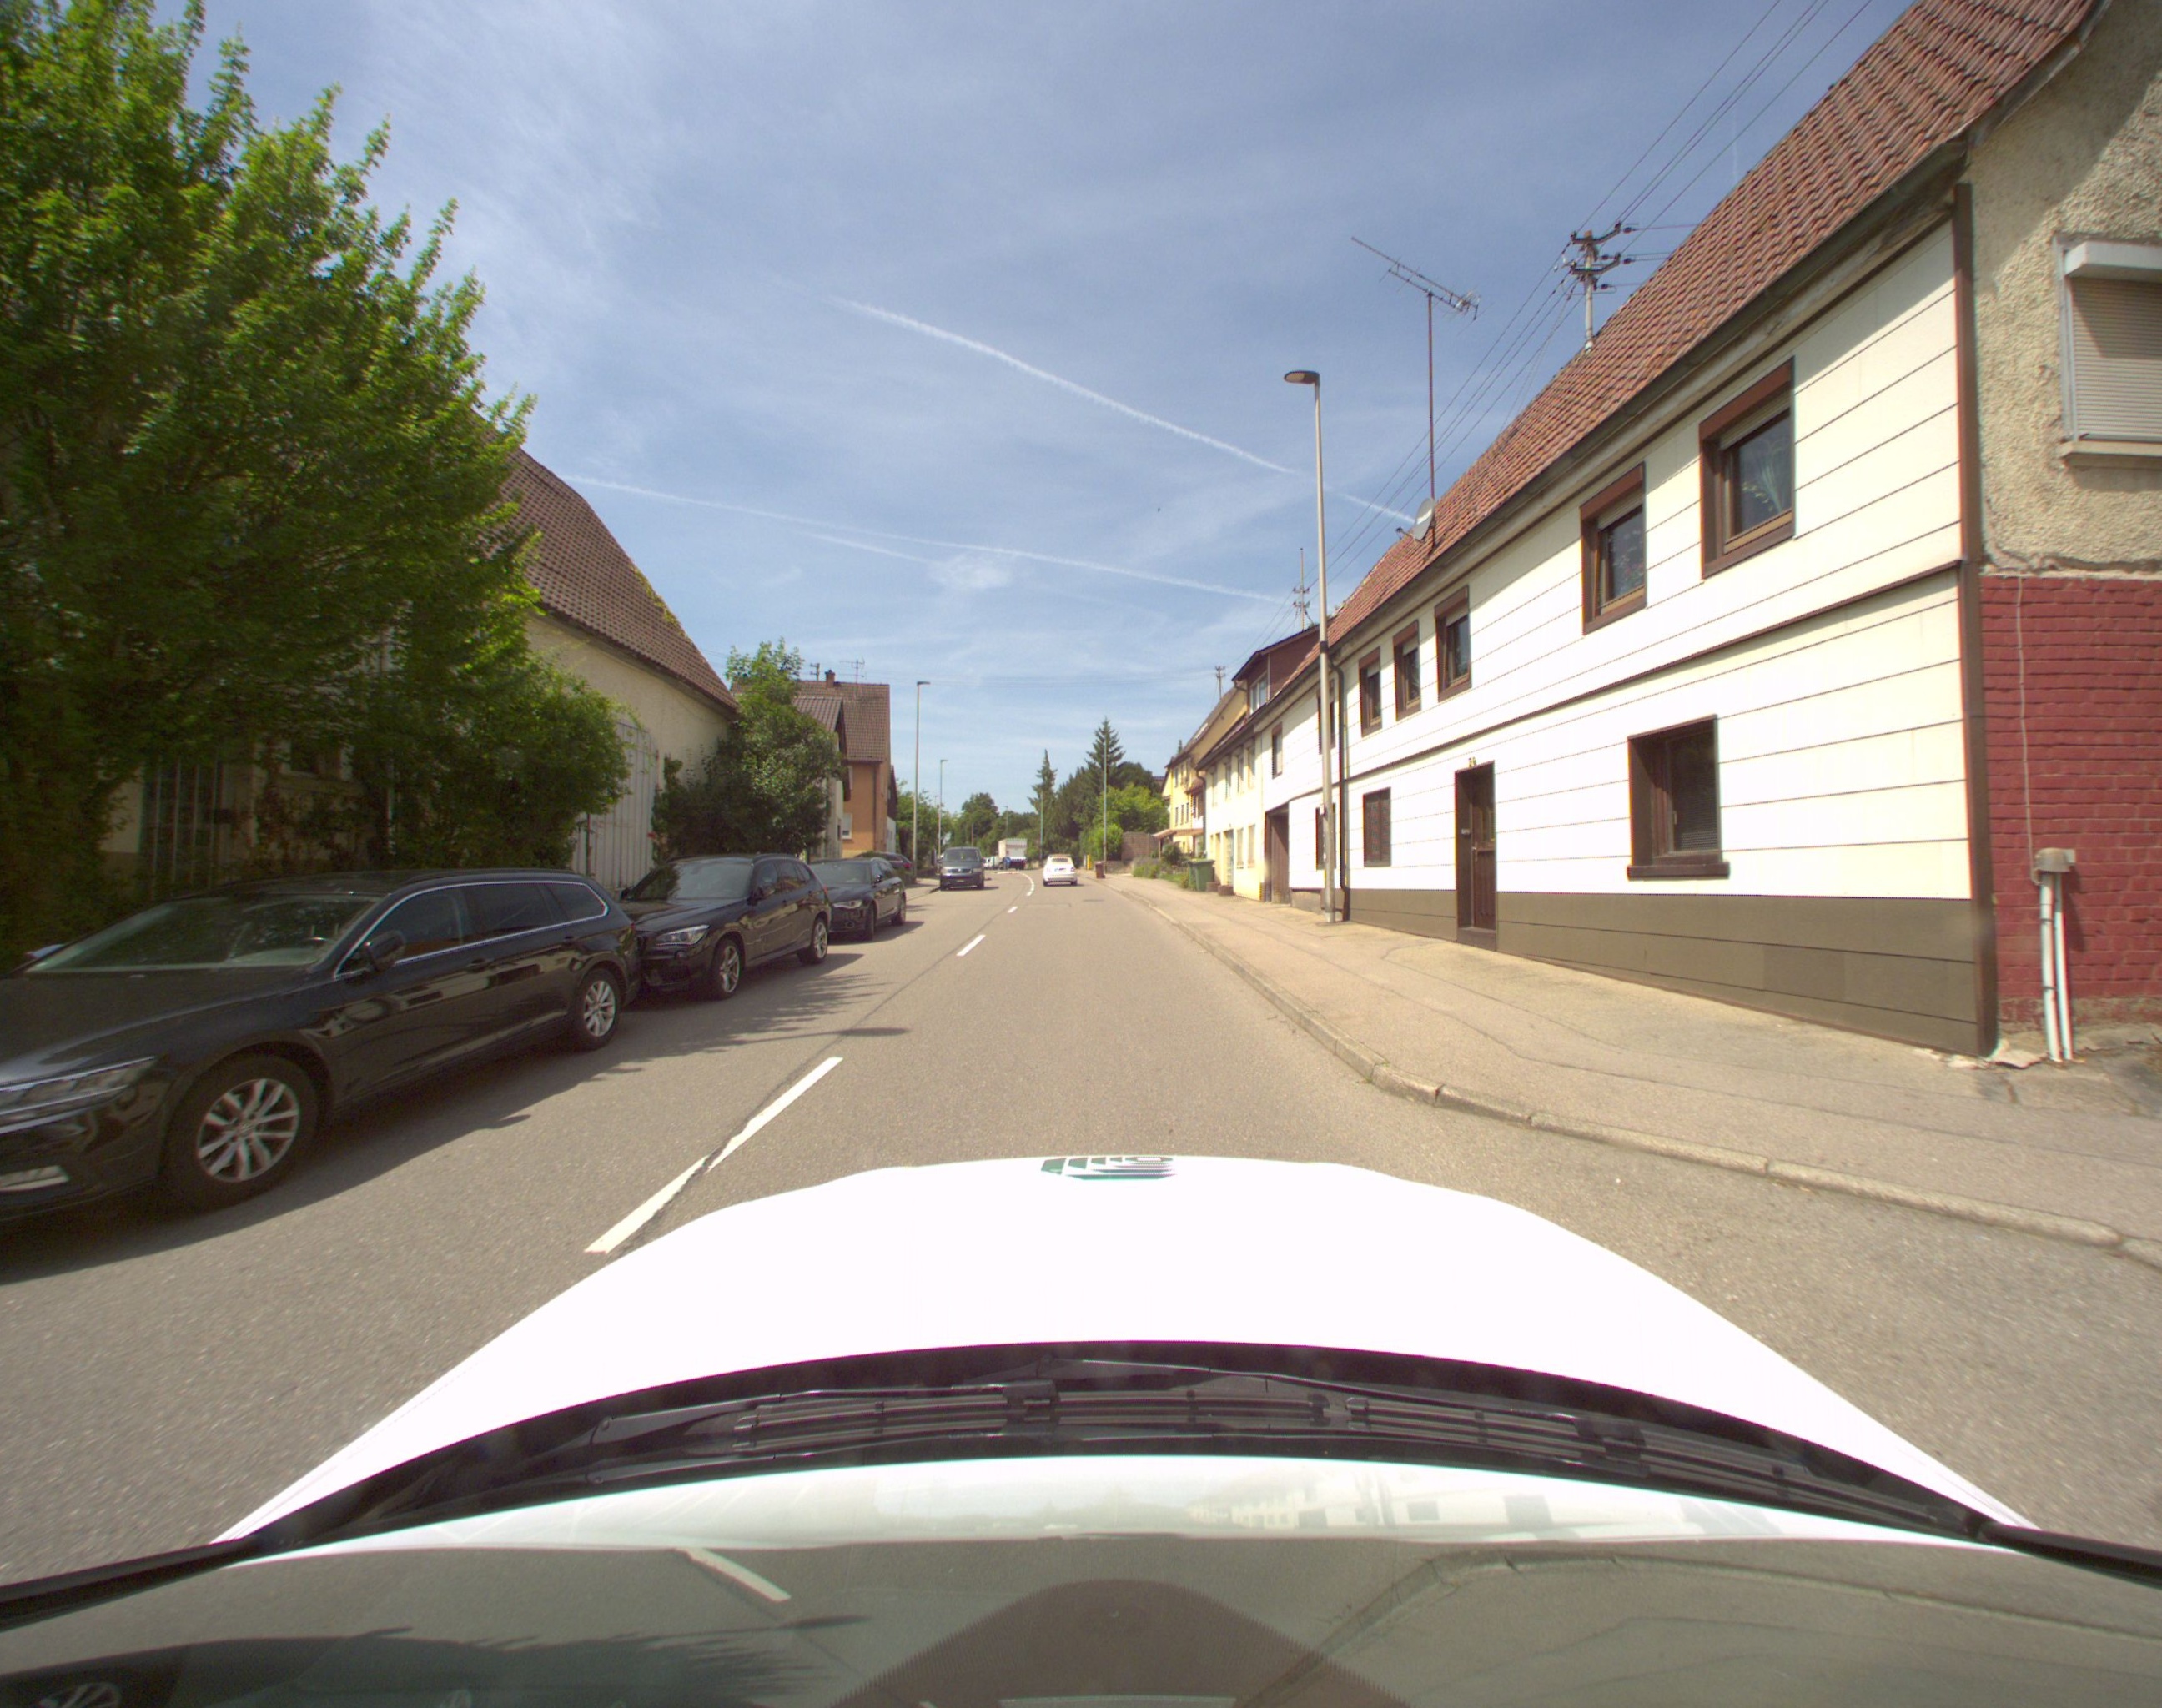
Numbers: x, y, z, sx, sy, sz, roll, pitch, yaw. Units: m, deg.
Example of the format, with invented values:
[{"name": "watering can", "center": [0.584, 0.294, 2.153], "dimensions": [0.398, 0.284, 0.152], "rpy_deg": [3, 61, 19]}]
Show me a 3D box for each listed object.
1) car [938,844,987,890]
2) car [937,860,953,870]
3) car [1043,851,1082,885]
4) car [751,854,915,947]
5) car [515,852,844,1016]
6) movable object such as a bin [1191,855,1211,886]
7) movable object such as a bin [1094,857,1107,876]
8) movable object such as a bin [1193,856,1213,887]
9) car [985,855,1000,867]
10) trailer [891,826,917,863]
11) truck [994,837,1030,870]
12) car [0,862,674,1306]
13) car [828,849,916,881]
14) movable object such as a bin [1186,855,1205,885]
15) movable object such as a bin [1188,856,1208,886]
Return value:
[{"name": "car", "center": [-5.405, 0.580, 37.750], "dimensions": [1.888, 1.937, 4.977], "rpy_deg": [-2, 0, -5]}, {"name": "car", "center": [-19.417, 1.518, 116.188], "dimensions": [1.808, 1.398, 3.979], "rpy_deg": [-1, -1, -15]}, {"name": "car", "center": [-0.884, 0.693, 40.572], "dimensions": [1.718, 1.560, 4.001], "rpy_deg": [-2, 0, 1]}, {"name": "car", "center": [-4.607, 0.769, 15.926], "dimensions": [1.814, 1.473, 4.772], "rpy_deg": [-1, 0, -2]}, {"name": "car", "center": [-4.527, 0.775, 10.065], "dimensions": [1.748, 1.521, 4.303], "rpy_deg": [-1, 1, 2]}, {"name": "movable object such as a bin", "center": [4.213, 0.588, 28.672], "dimensions": [0.545, 1.033, 0.551], "rpy_deg": [-4, 0, -2]}, {"name": "movable object such as a bin", "center": [1.109, 0.719, 45.894], "dimensions": [0.490, 1.033, 0.551], "rpy_deg": [-5, 0, 19]}, {"name": "movable object such as a bin", "center": [4.216, 0.591, 28.095], "dimensions": [0.545, 1.033, 0.551], "rpy_deg": [-4, 0, -2]}, {"name": "car", "center": [-13.286, 1.053, 122.217], "dimensions": [1.537, 1.670, 3.979], "rpy_deg": [1, 0, -15]}, {"name": "trailer", "center": [-14.494, -0.733, 66.961], "dimensions": [1.711, 2.848, 6.156], "rpy_deg": [0, 0, -8]}, {"name": "truck", "center": [-8.417, 0.007, 98.521], "dimensions": [3.072, 3.774, 7.830], "rpy_deg": [-1, -1, -13]}, {"name": "car", "center": [-4.613, 0.833, 5.078], "dimensions": [1.783, 1.463, 4.710], "rpy_deg": [-2, 0, -1]}, {"name": "car", "center": [-10.856, 0.550, 42.509], "dimensions": [4.229, 1.405, 1.815], "rpy_deg": [3, -1, -10]}, {"name": "movable object such as a bin", "center": [4.197, 0.586, 29.845], "dimensions": [0.545, 1.033, 0.551], "rpy_deg": [-4, 0, -2]}, {"name": "movable object such as a bin", "center": [4.200, 0.590, 29.249], "dimensions": [0.545, 1.033, 0.551], "rpy_deg": [-4, 0, -2]}]
